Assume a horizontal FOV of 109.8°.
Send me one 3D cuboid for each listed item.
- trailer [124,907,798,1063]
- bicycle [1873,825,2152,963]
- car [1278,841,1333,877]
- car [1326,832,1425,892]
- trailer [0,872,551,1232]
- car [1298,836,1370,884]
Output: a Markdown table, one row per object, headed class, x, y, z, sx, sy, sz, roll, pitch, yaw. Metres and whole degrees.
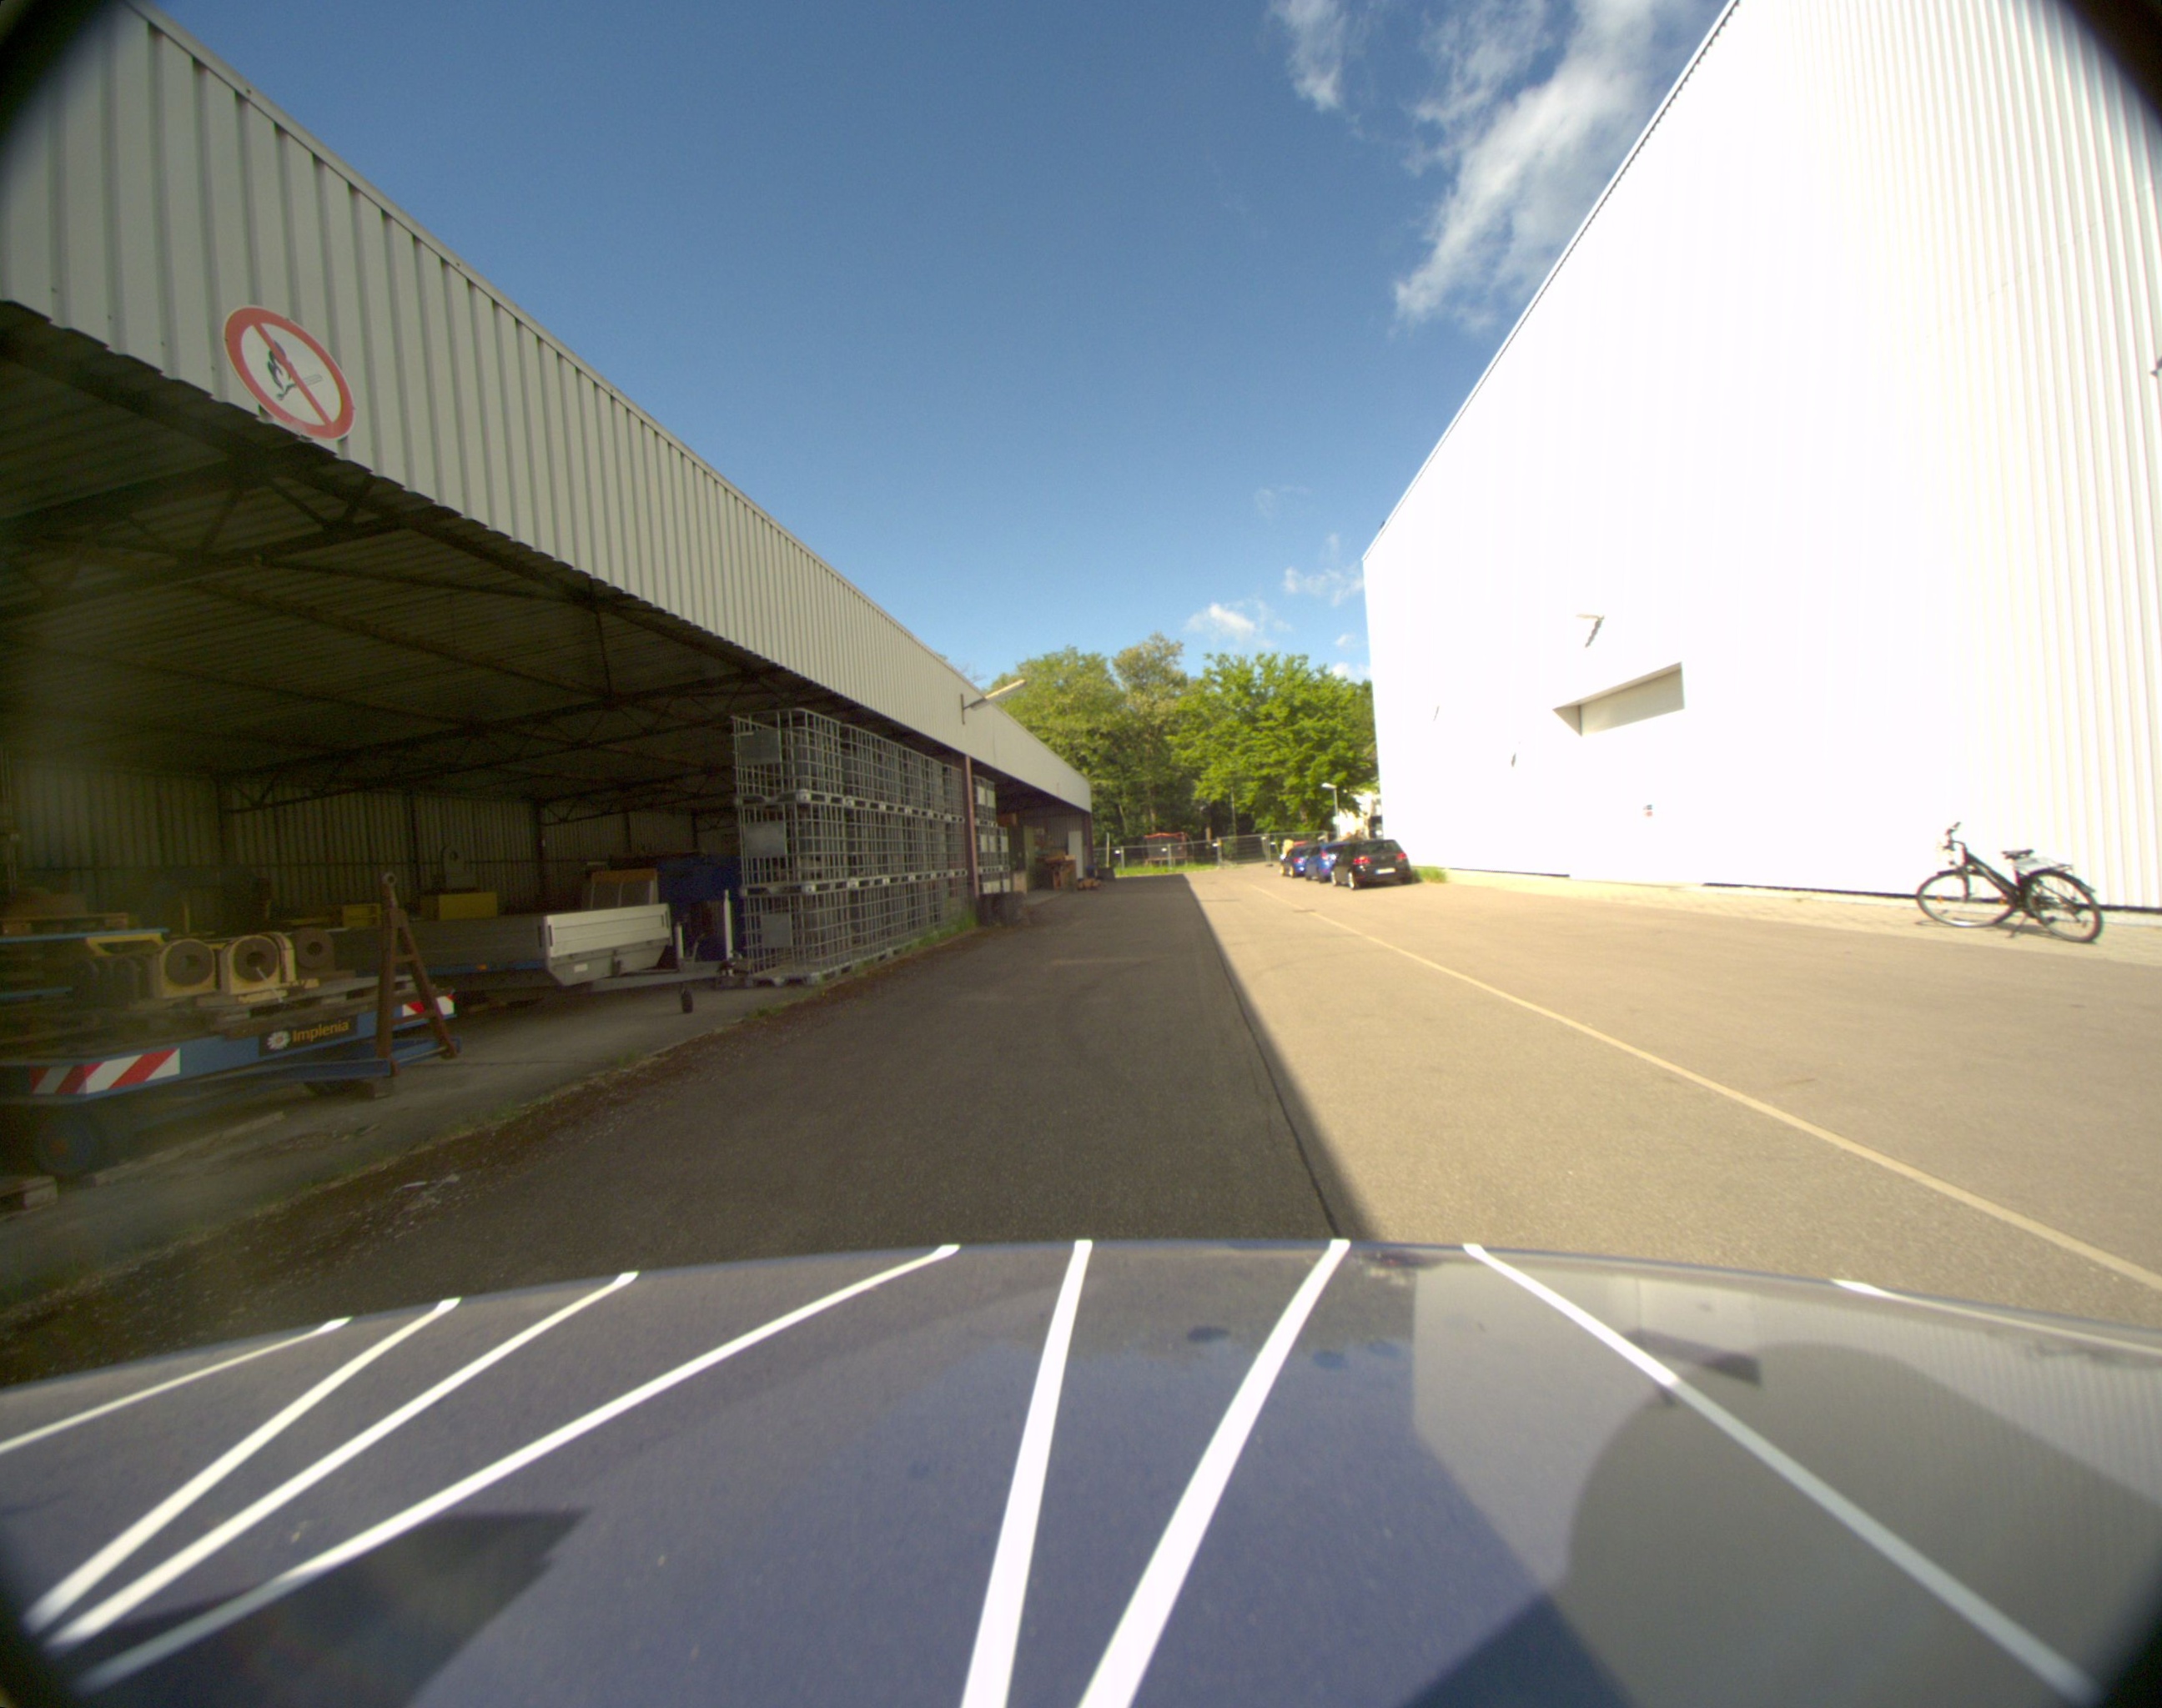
| class | x | y | z | sx | sy | sz | roll | pitch | yaw |
| --- | --- | --- | --- | --- | --- | --- | --- | --- | --- |
| trailer | -6.348 | 1.334 | 8.174 | 5.834 | 1.113 | 2.030 | -3 | 0 | 6 |
| bicycle | 9.237 | 0.343 | 7.692 | 0.908 | 1.136 | 1.902 | -7 | 0 | 22 |
| car | 10.108 | 0.198 | 34.457 | 1.789 | 1.431 | 4.002 | -3 | 0 | 9 |
| car | 9.074 | 0.222 | 23.747 | 1.894 | 1.513 | 4.002 | -7 | 0 | 9 |
| trailer | -6.475 | 1.085 | 4.813 | 4.877 | 1.619 | 2.030 | -3 | 0 | 6 |
| car | 9.563 | 0.203 | 28.979 | 1.789 | 1.513 | 4.002 | -7 | 0 | 9 |
